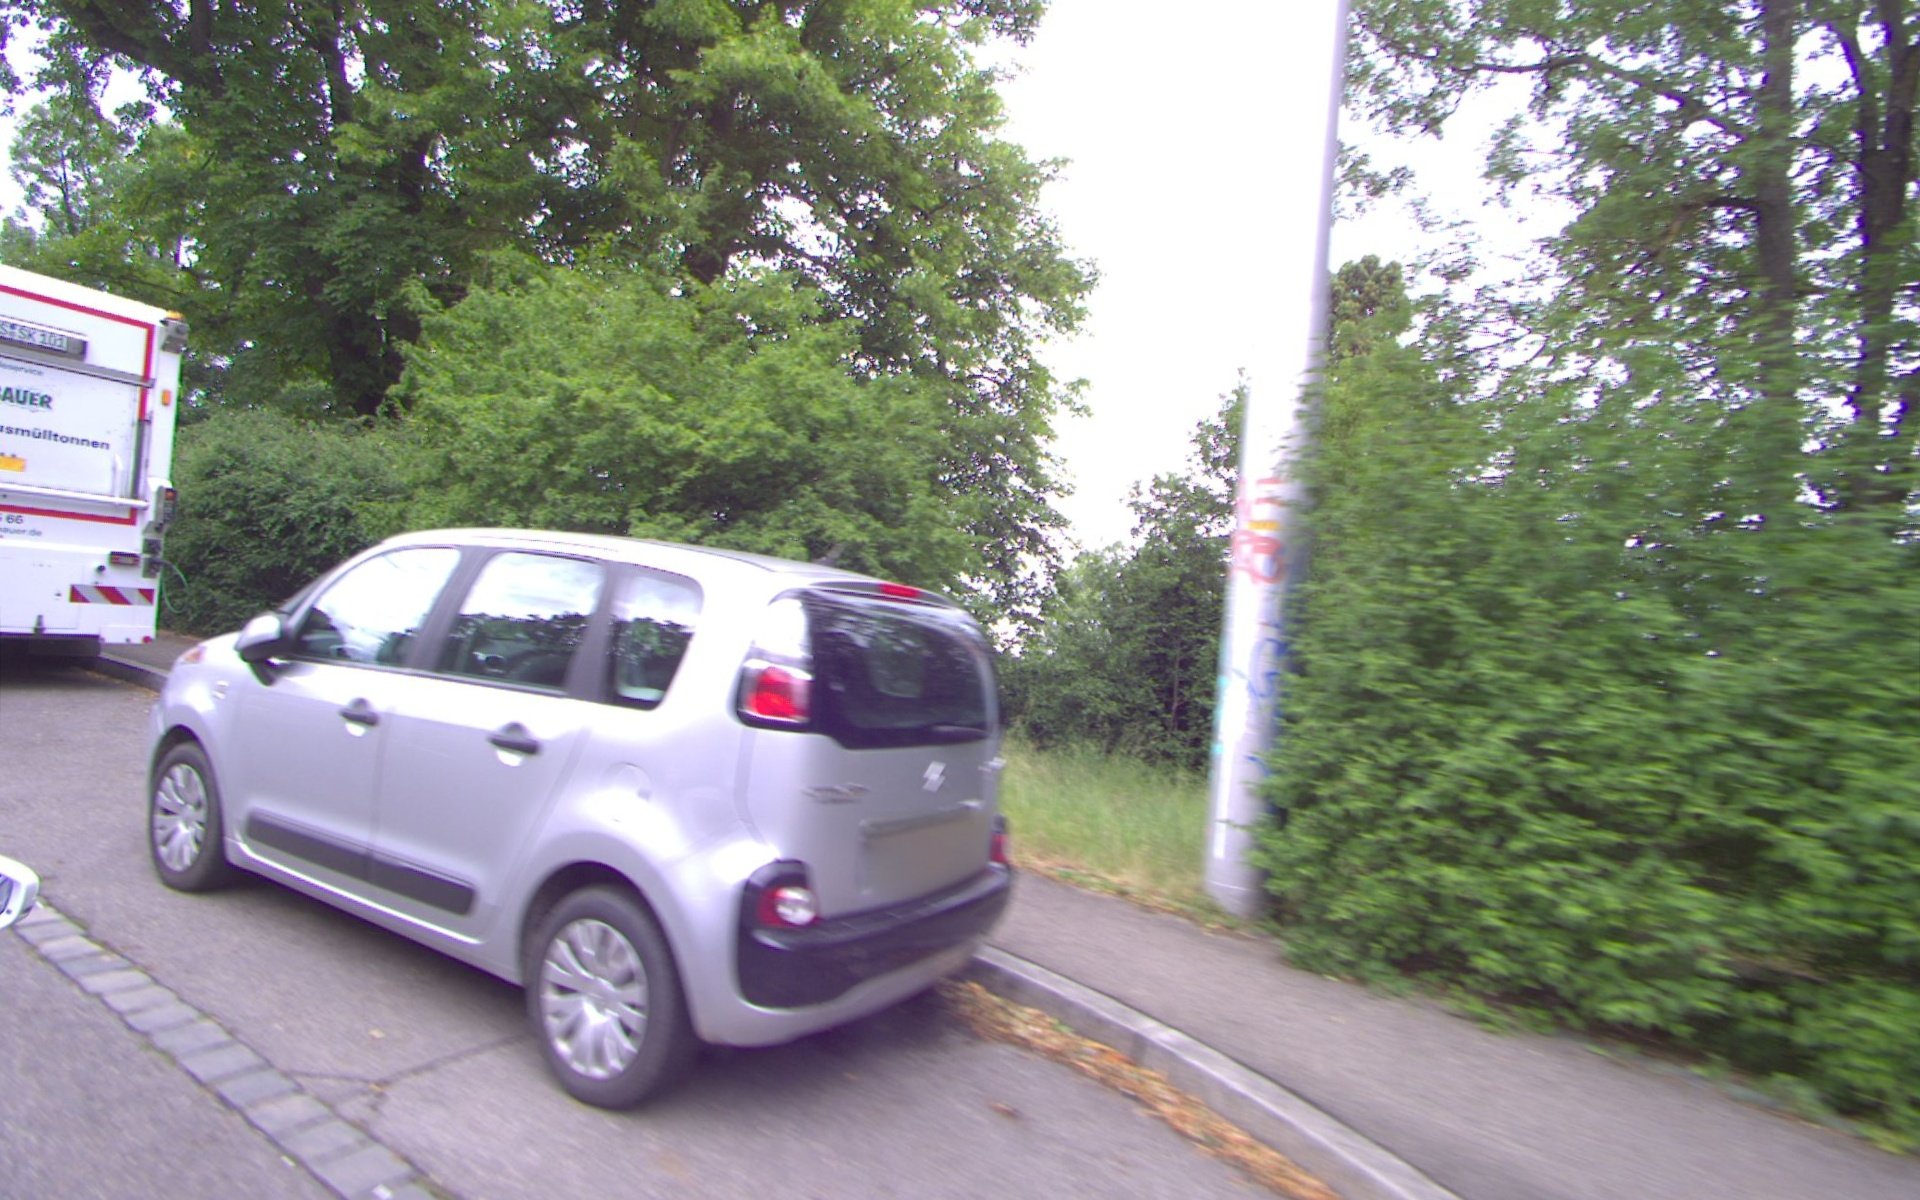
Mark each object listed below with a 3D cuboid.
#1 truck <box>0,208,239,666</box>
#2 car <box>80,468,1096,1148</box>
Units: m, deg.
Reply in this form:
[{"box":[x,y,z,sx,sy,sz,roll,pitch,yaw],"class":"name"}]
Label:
[{"box":[-9.918,-1.489,9.096,7.105,3.220,2.487,6,-1,29],"class":"truck"},{"box":[-1.675,0.430,4.197,3.933,1.543,1.805,6,0,31],"class":"car"}]
